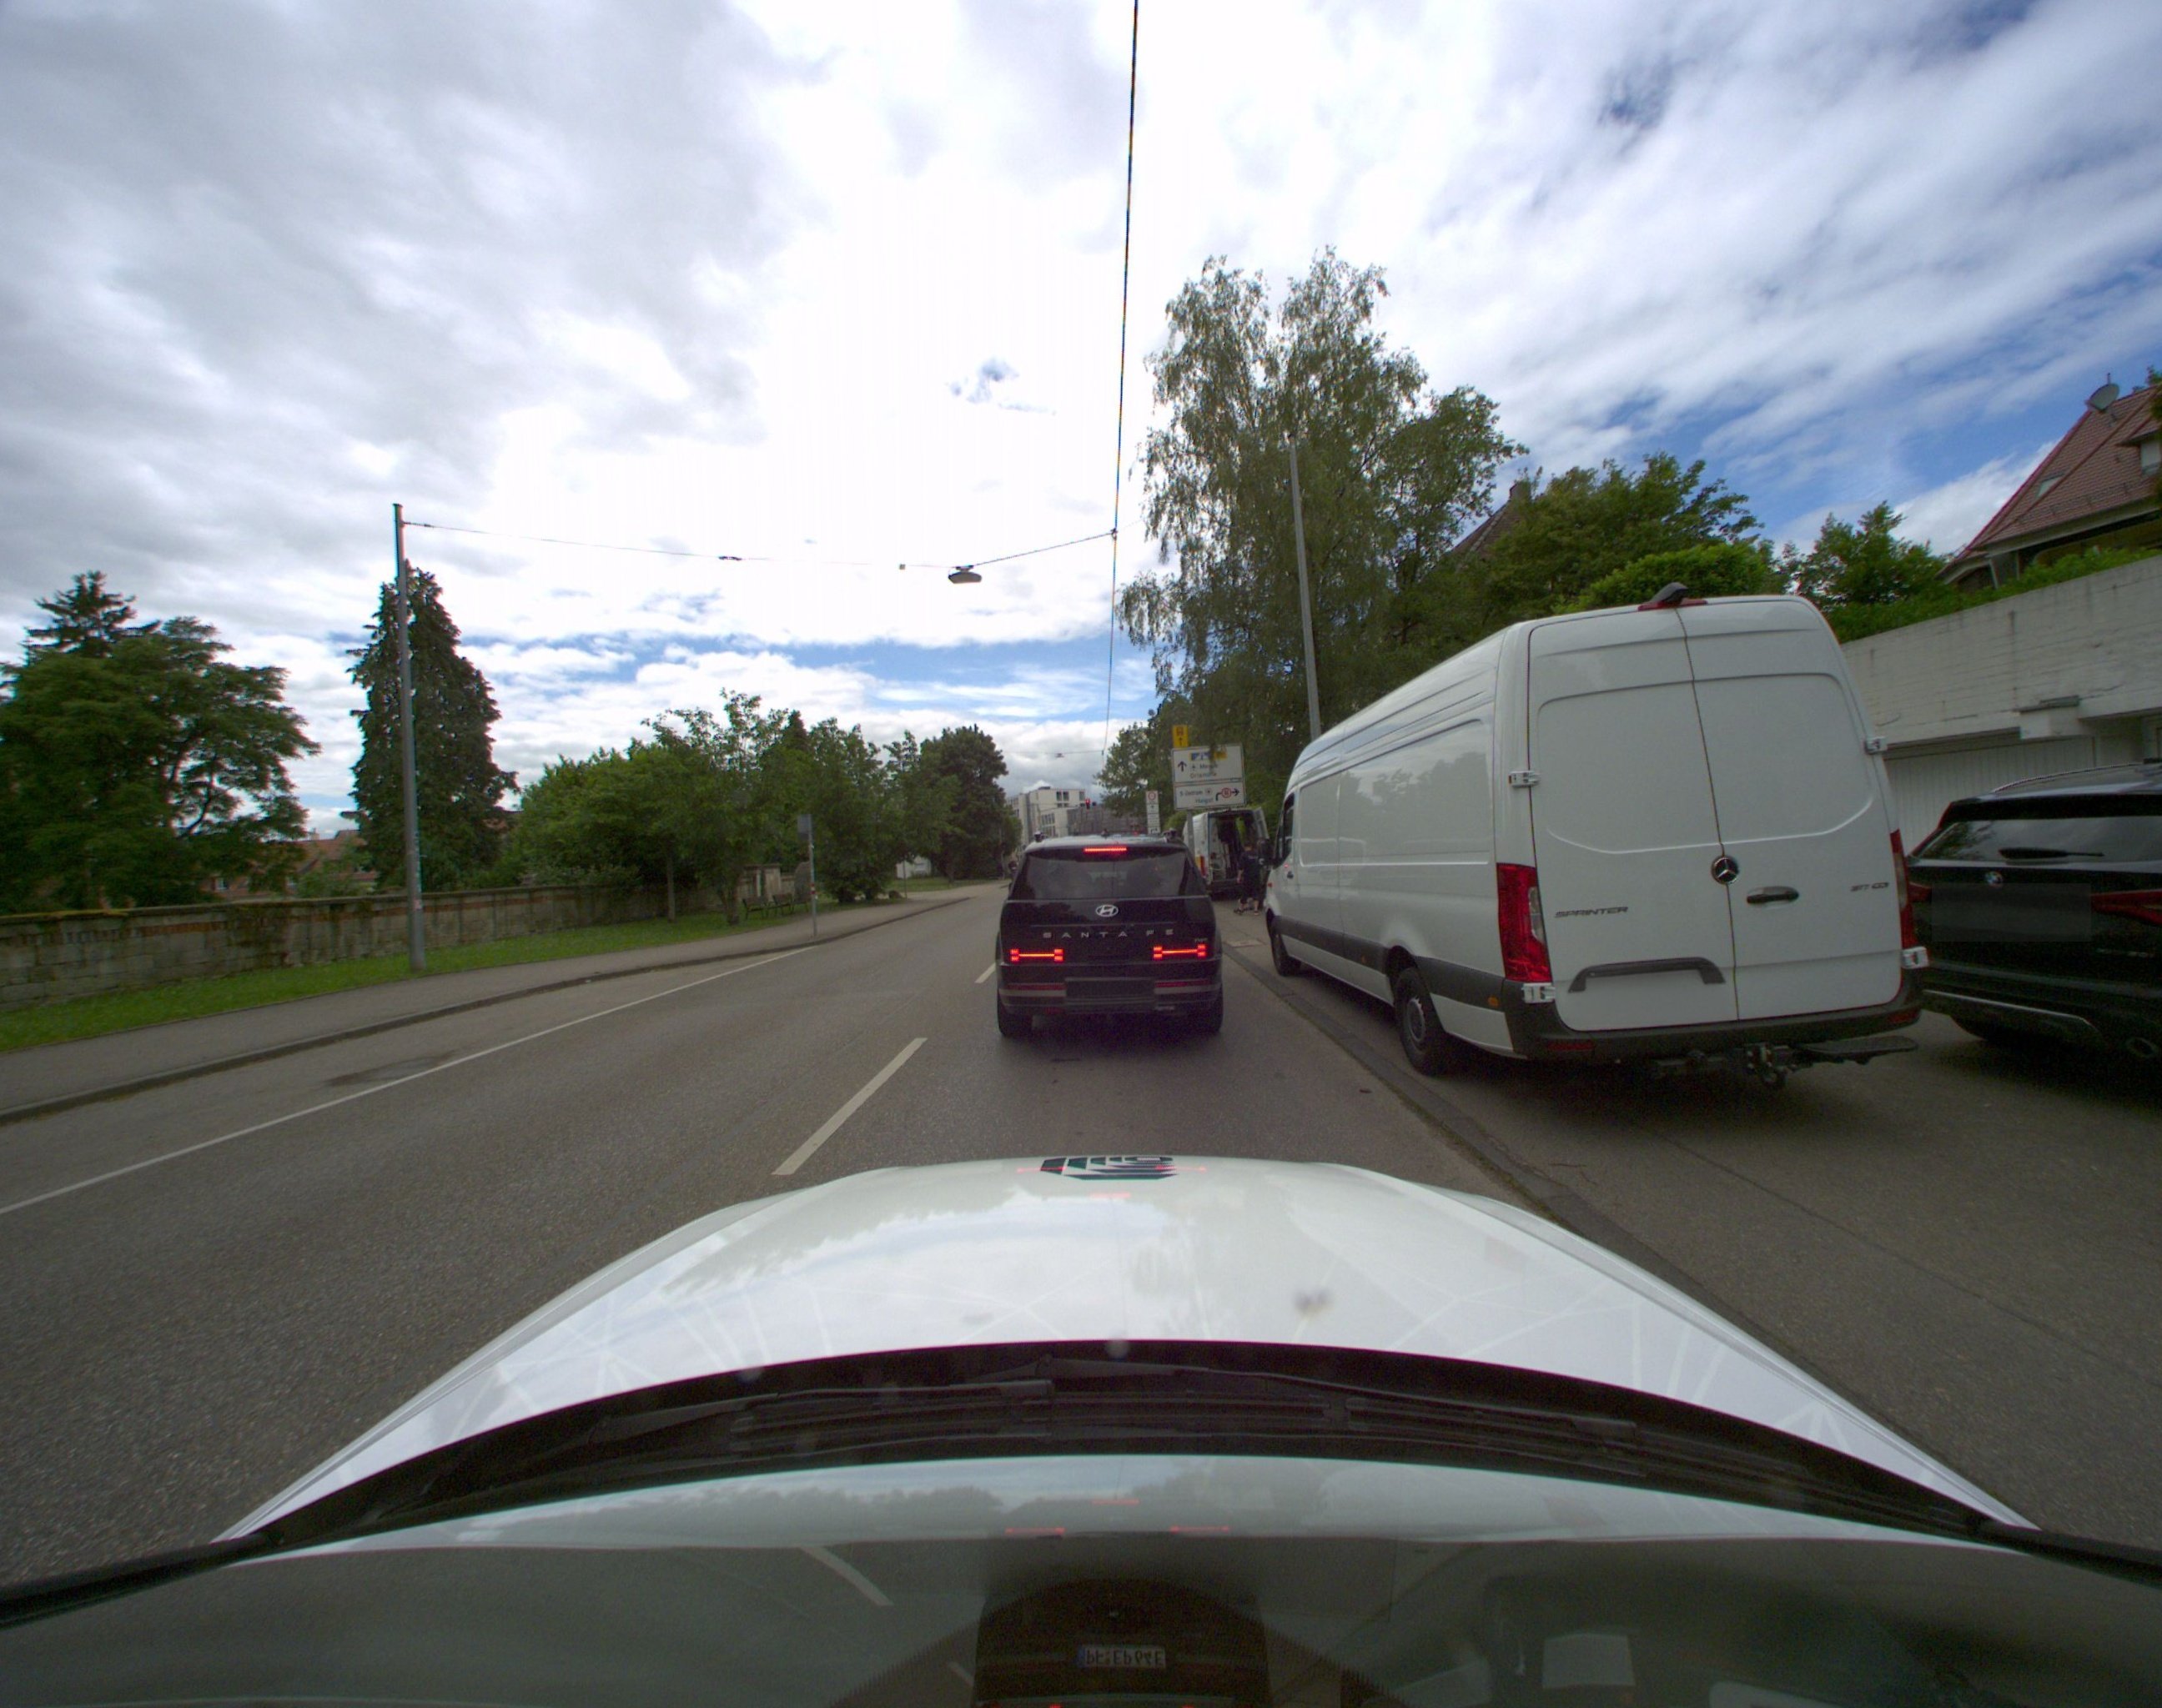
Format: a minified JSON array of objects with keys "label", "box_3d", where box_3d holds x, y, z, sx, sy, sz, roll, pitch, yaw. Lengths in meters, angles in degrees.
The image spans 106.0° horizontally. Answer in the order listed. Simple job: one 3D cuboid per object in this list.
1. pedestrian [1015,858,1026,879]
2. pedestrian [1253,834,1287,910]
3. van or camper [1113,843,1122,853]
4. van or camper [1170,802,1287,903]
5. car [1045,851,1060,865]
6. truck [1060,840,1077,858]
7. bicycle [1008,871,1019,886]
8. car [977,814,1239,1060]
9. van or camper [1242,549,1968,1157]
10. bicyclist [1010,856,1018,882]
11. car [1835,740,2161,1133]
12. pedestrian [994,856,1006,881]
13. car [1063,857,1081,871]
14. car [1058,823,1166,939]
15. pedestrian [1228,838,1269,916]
[{"label":"pedestrian","box_3d":[-5.013,1.218,67.819,0.764,1.748,0.904,-2,-1,1]},{"label":"pedestrian","box_3d":[4.404,0.411,19.012,0.745,1.721,0.794,-1,-1,11]},{"label":"van or camper","box_3d":[7.736,-1.233,172.574,1.791,1.999,3.821,0,-1,-2]},{"label":"van or camper","box_3d":[4.341,0.015,25.303,2.332,2.494,6.603,-6,-1,1]},{"label":"car","box_3d":[-5.112,0.699,144.539,2.328,2.315,4.950,-3,0,-4]},{"label":"truck","box_3d":[-2.870,-1.060,187.478,3.102,3.859,9.607,-3,0,-4]},{"label":"bicycle","box_3d":[-4.345,1.584,52.629,0.493,0.964,1.749,0,-1,2]},{"label":"car","box_3d":[0.258,0.619,7.912,1.890,1.776,3.995,0,-1,2]},{"label":"van or camper","box_3d":[3.059,0.019,7.045,1.984,2.625,6.546,-6,-1,2]},{"label":"bicyclist","box_3d":[-4.341,0.943,52.647,0.486,1.684,0.588,0,-1,1]},{"label":"car","box_3d":[6.786,0.217,4.040,4.365,1.675,1.696,-4,-1,2]},{"label":"pedestrian","box_3d":[-6.551,1.141,66.006,0.826,2.014,1.048,0,-1,4]},{"label":"car","box_3d":[-0.948,1.118,90.943,1.750,1.403,4.416,-5,-1,2]},{"label":"car","box_3d":[0.613,0.495,16.446,1.890,2.042,3.995,0,-1,2]},{"label":"pedestrian","box_3d":[3.732,0.510,18.213,0.732,1.643,0.803,-4,-1,8]}]
